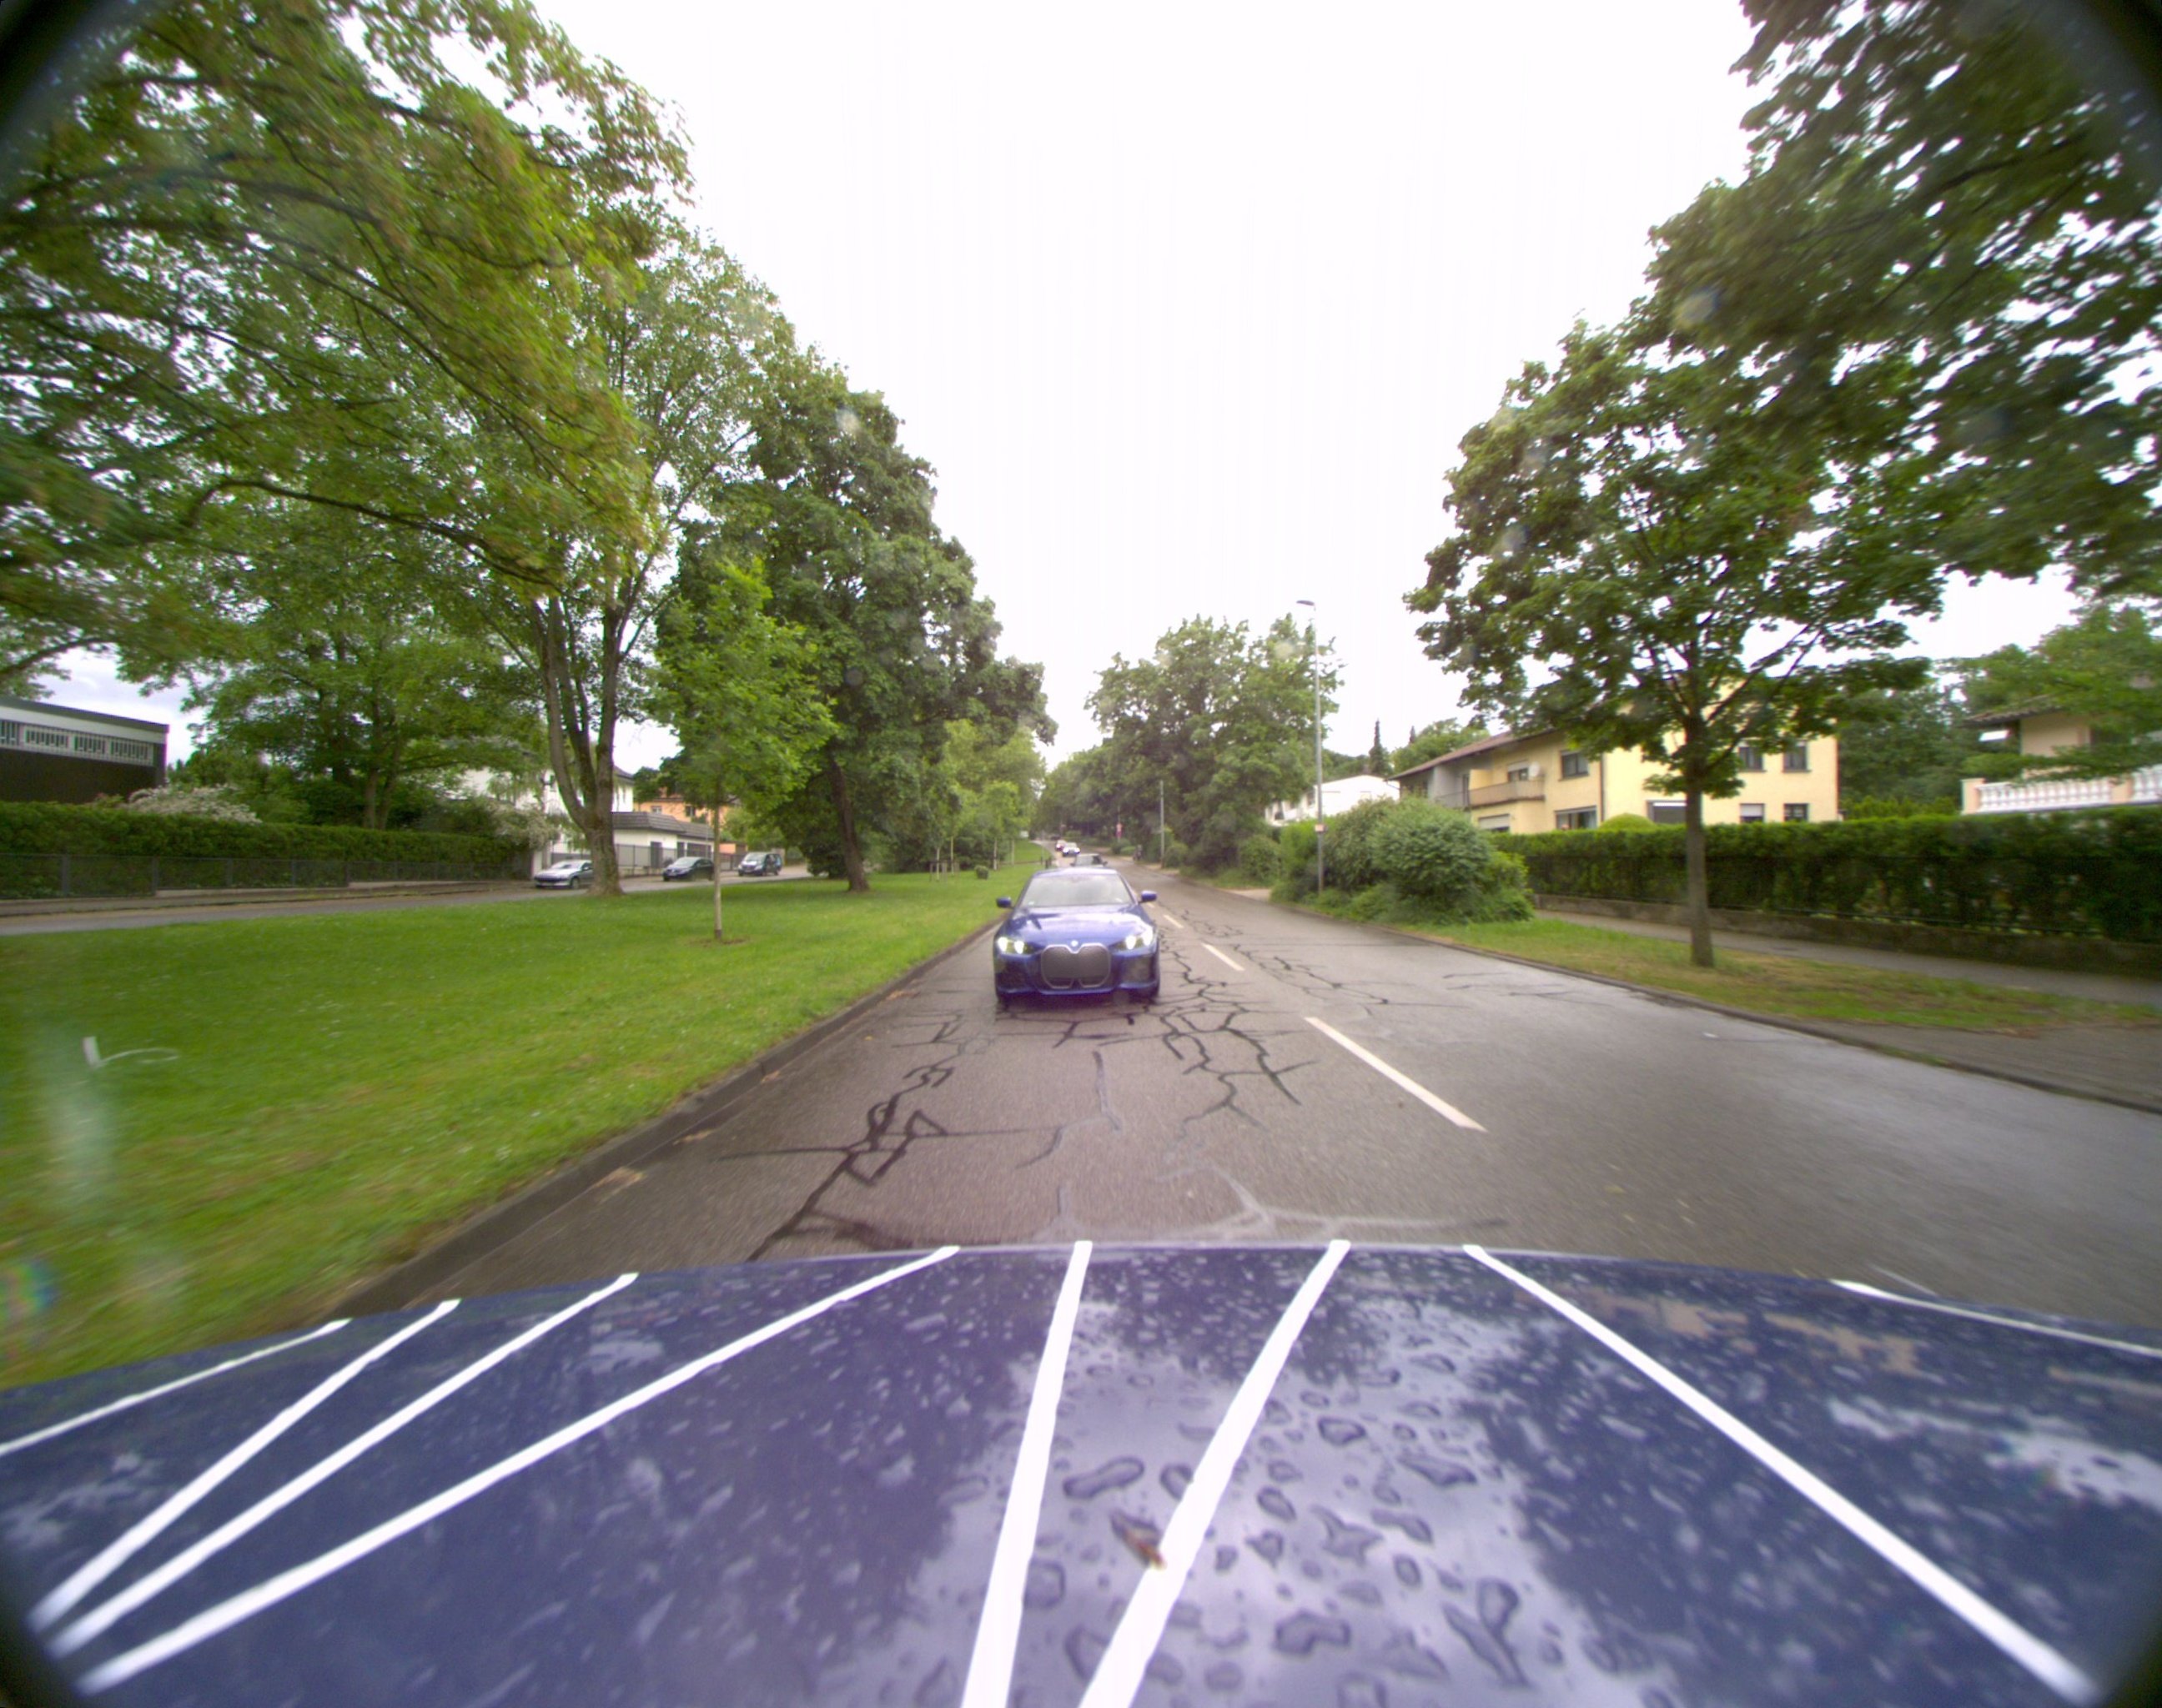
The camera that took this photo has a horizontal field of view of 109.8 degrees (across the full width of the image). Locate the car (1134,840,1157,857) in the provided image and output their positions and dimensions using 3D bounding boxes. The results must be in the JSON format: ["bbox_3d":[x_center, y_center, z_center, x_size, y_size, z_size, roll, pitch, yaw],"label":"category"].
[{"bbox_3d":[6.504,-0.616,77.092,1.668,1.533,4.281,-4,2,-4],"label":"car"}]

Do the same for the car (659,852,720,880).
[{"bbox_3d":[-24.700,0.740,48.134,1.907,1.615,4.033,0,1,-3],"label":"car"}]

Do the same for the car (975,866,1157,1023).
[{"bbox_3d":[-0.073,0.964,10.008,1.796,1.459,4.510,-3,0,2],"label":"car"}]

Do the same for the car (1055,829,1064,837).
[{"bbox_3d":[-4.210,-4.194,150.519,1.759,1.355,4.322,1,3,-2],"label":"car"}]

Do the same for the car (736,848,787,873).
[{"bbox_3d":[-25.351,0.503,60.513,2.165,1.868,5.067,0,1,-3],"label":"car"}]

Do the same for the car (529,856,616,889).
[{"bbox_3d":[-23.907,0.847,35.860,1.686,1.367,3.708,2,0,-2],"label":"car"}]

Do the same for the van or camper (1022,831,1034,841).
[{"bbox_3d":[-10.134,-3.464,144.486,2.000,1.858,5.658,0,2,-7],"label":"van or camper"}]

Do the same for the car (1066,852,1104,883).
[{"bbox_3d":[0.259,0.681,38.383,1.796,1.458,4.511,0,-1,2],"label":"car"}]

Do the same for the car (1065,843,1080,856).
[{"bbox_3d":[-0.938,-0.544,90.176,1.678,1.542,3.831,1,1,1],"label":"car"}]
